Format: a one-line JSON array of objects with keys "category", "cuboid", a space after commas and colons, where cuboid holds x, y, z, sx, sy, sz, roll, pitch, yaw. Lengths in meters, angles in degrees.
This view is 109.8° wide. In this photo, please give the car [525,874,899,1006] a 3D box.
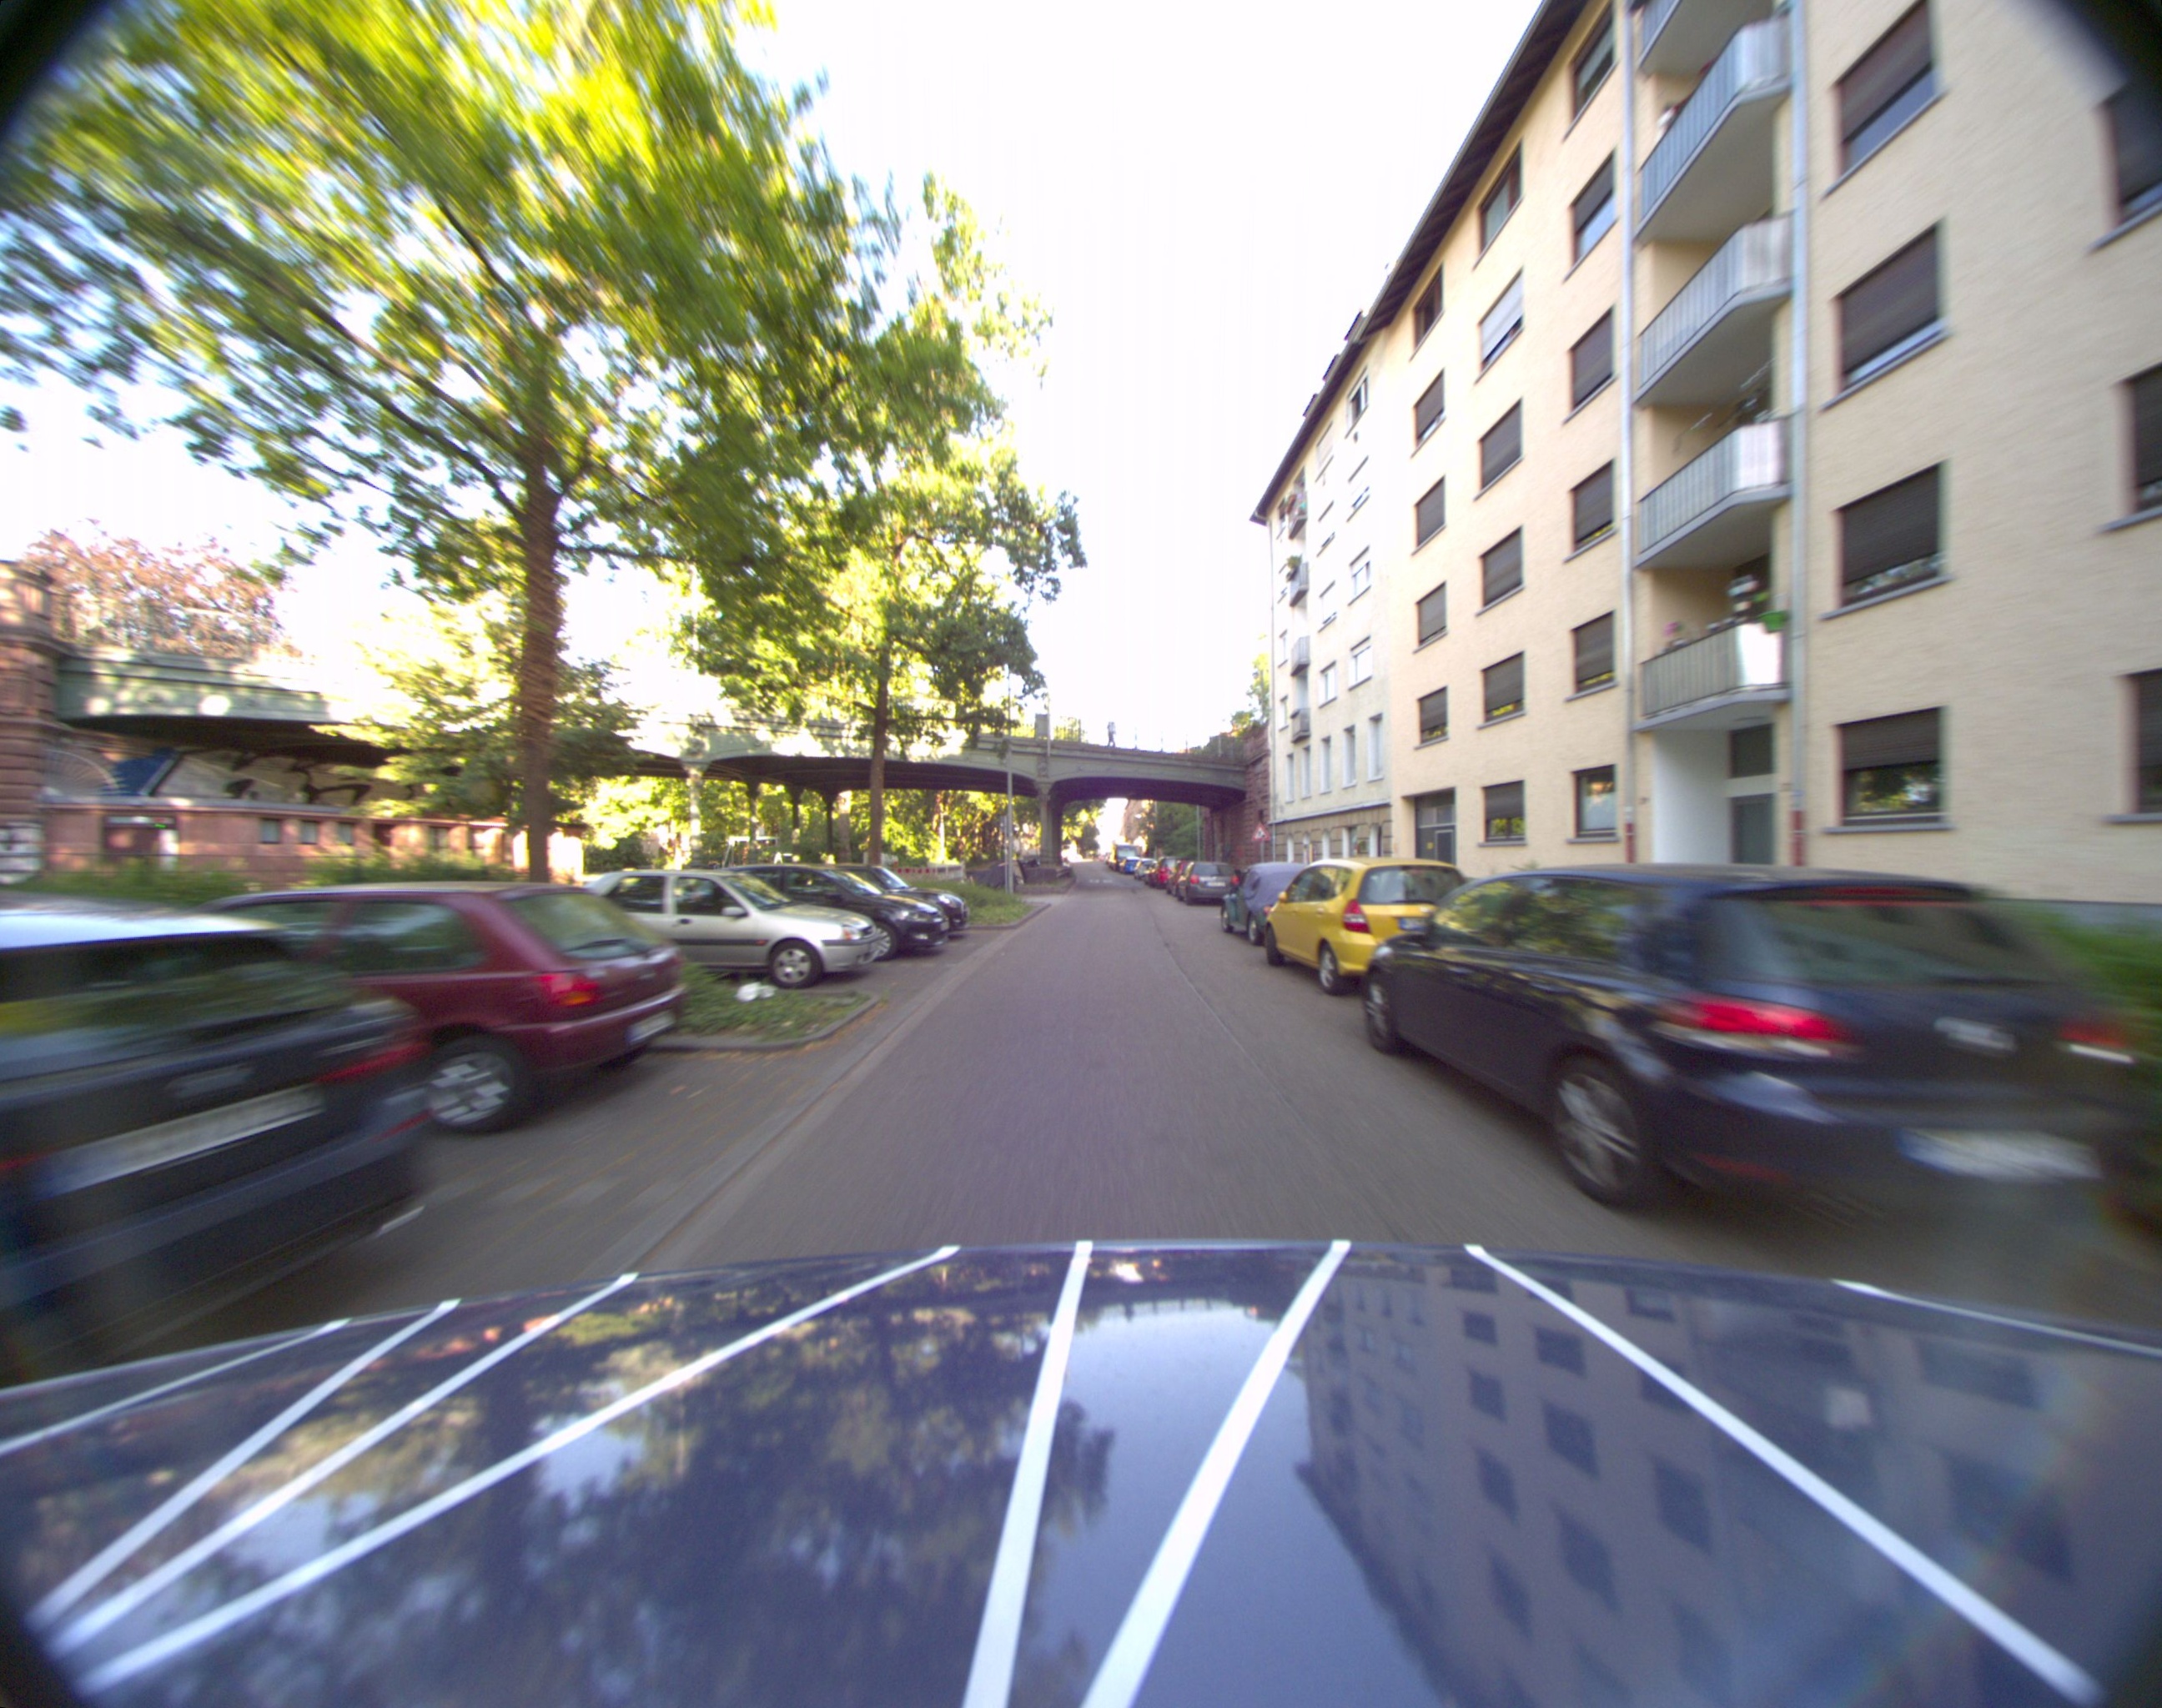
[{"category": "car", "cuboid": [-4.356, 0.993, 9.403, 3.792, 1.393, 1.664, 0, 2, 0]}]

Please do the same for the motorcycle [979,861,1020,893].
[{"category": "motorcycle", "cuboid": [-3.609, 1.017, 33.632, 1.601, 1.400, 0.713, -1, 2, 20]}]

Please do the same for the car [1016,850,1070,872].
[{"category": "car", "cuboid": [-3.240, 0.583, 65.309, 4.544, 1.686, 1.907, -2, 2, -1]}]

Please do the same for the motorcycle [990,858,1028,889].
[{"category": "motorcycle", "cuboid": [-3.450, 0.935, 36.510, 1.601, 1.400, 0.713, -1, 2, 20]}]

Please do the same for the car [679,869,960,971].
[{"category": "car", "cuboid": [-3.973, 0.989, 12.032, 3.791, 1.393, 1.827, 0, 2, 1]}]

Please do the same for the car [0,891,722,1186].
[{"category": "car", "cuboid": [-4.612, 0.994, 4.837, 3.793, 1.393, 1.765, 0, 2, -3]}]

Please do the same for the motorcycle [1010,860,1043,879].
[{"category": "motorcycle", "cuboid": [-3.231, 0.893, 44.852, 1.729, 1.024, 0.810, -3, 2, -34]}]

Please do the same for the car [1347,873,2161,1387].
[{"category": "car", "cuboid": [3.043, 0.902, 4.337, 1.743, 1.470, 4.000, 0, 0, 2]}]

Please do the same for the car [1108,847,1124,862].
[{"category": "car", "cuboid": [3.849, 0.024, 85.061, 1.703, 1.489, 4.549, 1, 2, 2]}]

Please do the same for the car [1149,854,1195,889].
[{"category": "car", "cuboid": [4.623, 0.851, 39.139, 1.721, 1.698, 4.321, 0, 0, -2]}]

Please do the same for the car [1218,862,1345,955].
[{"category": "car", "cuboid": [3.680, 0.933, 14.561, 1.570, 1.508, 3.782, 0, 0, 2]}]

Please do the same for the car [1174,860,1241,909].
[{"category": "car", "cuboid": [4.285, 0.978, 26.280, 1.641, 1.458, 4.000, 2, 0, 1]}]

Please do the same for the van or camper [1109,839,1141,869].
[{"category": "van or camper", "cuboid": [4.060, -0.054, 70.829, 2.242, 2.509, 6.417, -2, 2, -3]}]

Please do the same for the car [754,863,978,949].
[{"category": "car", "cuboid": [-3.915, 0.934, 14.351, 3.793, 1.464, 1.634, 0, 2, -3]}]

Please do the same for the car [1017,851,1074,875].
[{"category": "car", "cuboid": [-2.842, 0.686, 60.240, 4.387, 1.699, 1.906, -2, 2, -4]}]

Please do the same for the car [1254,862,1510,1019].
[{"category": "car", "cuboid": [3.449, 0.888, 9.516, 1.707, 1.516, 3.773, 0, 0, 0]}]

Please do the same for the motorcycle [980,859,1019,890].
[{"category": "motorcycle", "cuboid": [-3.813, 0.970, 35.602, 1.601, 1.400, 0.713, -1, 2, 20]}]

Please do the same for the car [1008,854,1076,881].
[{"category": "car", "cuboid": [-2.559, 0.895, 50.414, 4.386, 1.568, 1.674, -2, 2, -1]}]

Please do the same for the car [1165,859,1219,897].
[{"category": "car", "cuboid": [4.542, 0.953, 31.599, 1.693, 1.433, 4.000, 0, 0, 1]}]

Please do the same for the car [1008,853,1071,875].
[{"category": "car", "cuboid": [-3.111, 0.763, 57.502, 4.596, 1.597, 1.734, 0, 2, 4]}]

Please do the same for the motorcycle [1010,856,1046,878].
[{"category": "motorcycle", "cuboid": [-3.247, 0.761, 46.540, 1.938, 1.231, 0.902, -2, 2, -25]}]

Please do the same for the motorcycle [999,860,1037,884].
[{"category": "motorcycle", "cuboid": [-3.378, 0.955, 40.805, 1.839, 1.126, 0.849, -2, 2, -23]}]

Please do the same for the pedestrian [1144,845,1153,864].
[{"category": "pedestrian", "cuboid": [6.735, 0.024, 76.090, 0.639, 1.903, 1.046, -2, 2, -6]}]

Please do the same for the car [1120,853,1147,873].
[{"category": "car", "cuboid": [4.428, 0.716, 64.666, 1.749, 1.458, 4.373, -2, 2, -3]}]

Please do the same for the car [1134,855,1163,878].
[{"category": "car", "cuboid": [4.837, 0.906, 54.977, 1.599, 1.538, 3.913, 1, 1, -2]}]

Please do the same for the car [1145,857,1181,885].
[{"category": "car", "cuboid": [4.742, 0.957, 44.424, 1.721, 1.455, 4.000, 0, 0, 1]}]

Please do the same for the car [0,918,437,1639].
[{"category": "car", "cuboid": [-4.218, 0.973, 1.984, 3.790, 1.439, 1.664, 0, 2, 6]}]

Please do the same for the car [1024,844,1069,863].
[{"category": "car", "cuboid": [-3.719, -0.044, 82.553, 4.683, 1.914, 1.871, 2, 2, -1]}]
